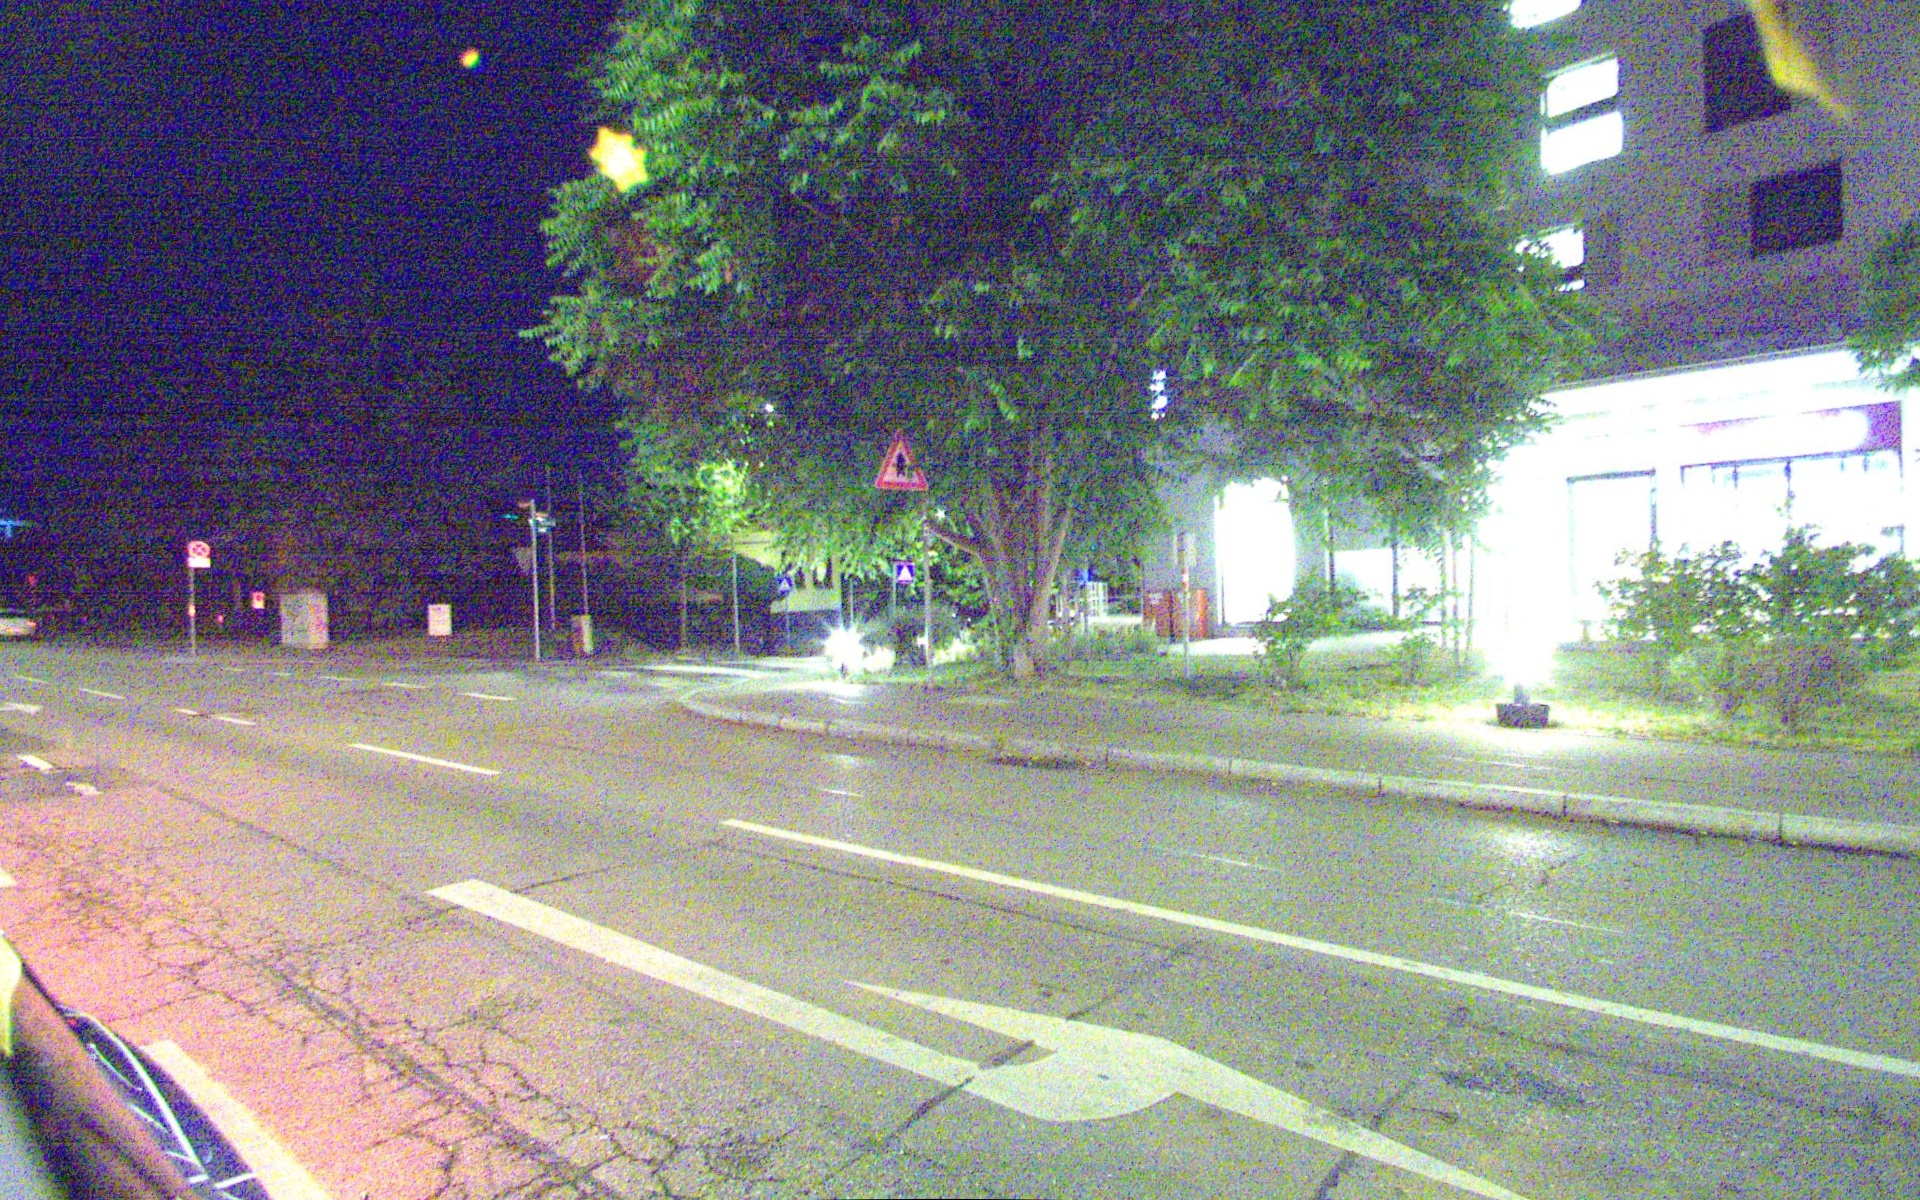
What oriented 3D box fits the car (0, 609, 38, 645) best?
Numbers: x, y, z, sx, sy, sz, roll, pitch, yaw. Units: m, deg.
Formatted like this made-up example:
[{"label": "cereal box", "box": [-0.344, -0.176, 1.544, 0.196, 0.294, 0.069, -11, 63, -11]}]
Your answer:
[{"label": "car", "box": [-43.279, 1.207, 45.773, 3.998, 1.464, 1.887, 1, 2, 41]}]
